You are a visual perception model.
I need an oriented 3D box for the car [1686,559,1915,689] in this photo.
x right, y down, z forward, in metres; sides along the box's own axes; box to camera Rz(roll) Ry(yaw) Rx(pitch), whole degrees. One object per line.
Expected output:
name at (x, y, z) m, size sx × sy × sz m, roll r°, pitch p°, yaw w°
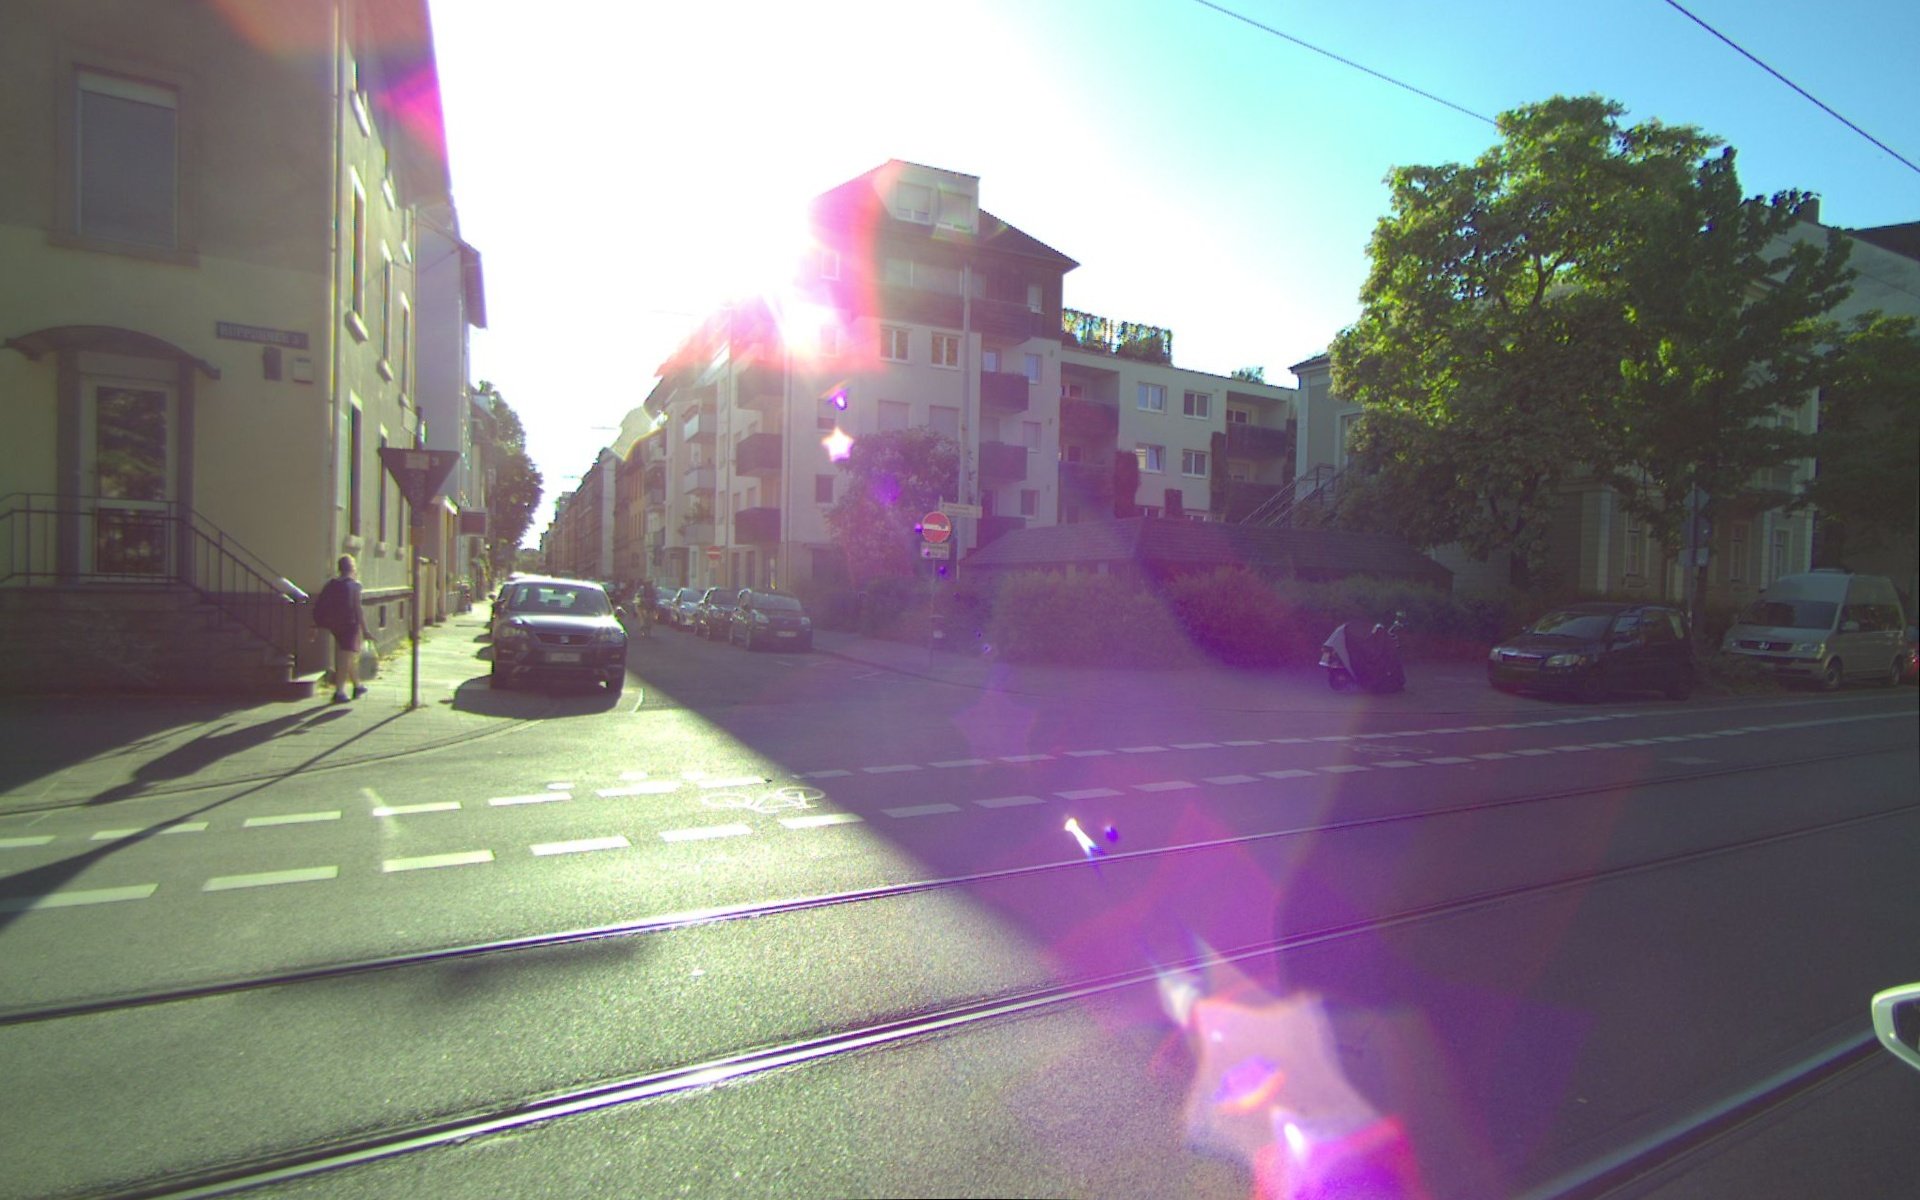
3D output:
car at (18.513, 0.491, 22.064) m, size 5.284 × 2.542 × 2.291 m, roll 1°, pitch 1°, yaw -32°

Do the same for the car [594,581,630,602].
car at (-24.089, -0.587, 69.407) m, size 1.856 × 1.325 × 4.048 m, roll 1°, pitch 0°, yaw -26°

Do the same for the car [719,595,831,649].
car at (-4.915, 0.536, 26.247) m, size 1.856 × 1.270 × 4.048 m, roll 1°, pitch 0°, yaw -26°

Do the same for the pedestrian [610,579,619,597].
pedestrian at (-31.566, -1.103, 91.701) m, size 0.642 × 1.683 × 0.646 m, roll 1°, pitch 1°, yaw -27°

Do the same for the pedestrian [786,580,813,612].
pedestrian at (-5.800, -0.165, 36.239) m, size 0.493 × 1.122 × 1.789 m, roll 1°, pitch 0°, yaw -24°

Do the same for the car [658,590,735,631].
car at (-9.375, 0.343, 35.533) m, size 1.856 × 1.325 × 4.048 m, roll 1°, pitch 0°, yaw -26°

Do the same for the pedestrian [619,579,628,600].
pedestrian at (-27.328, -0.828, 81.554) m, size 0.642 × 1.683 × 0.646 m, roll 1°, pitch 1°, yaw -27°

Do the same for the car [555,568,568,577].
car at (-69.225, -4.771, 174.418) m, size 1.856 × 1.595 × 4.048 m, roll 1°, pitch 0°, yaw -26°

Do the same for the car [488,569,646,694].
car at (-6.152, 0.399, 15.439) m, size 1.940 × 1.639 × 4.048 m, roll 1°, pitch 0°, yaw -26°

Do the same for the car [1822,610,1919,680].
car at (23.065, 1.071, 24.761) m, size 3.665 × 1.560 × 1.676 m, roll 1°, pitch 1°, yaw -31°

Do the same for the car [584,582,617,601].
car at (-26.727, -0.668, 74.526) m, size 1.856 × 1.325 × 4.048 m, roll 1°, pitch 0°, yaw -26°

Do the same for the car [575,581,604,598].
car at (-30.500, -0.903, 82.665) m, size 1.856 × 1.325 × 4.048 m, roll 1°, pitch 0°, yaw -26°

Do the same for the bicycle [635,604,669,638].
bicycle at (-9.068, 0.602, 29.517) m, size 0.639 × 0.940 × 1.965 m, roll 1°, pitch 0°, yaw -27°

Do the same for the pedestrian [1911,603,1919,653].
pedestrian at (32.530, 0.950, 33.674) m, size 0.936 × 1.684 × 0.602 m, roll 1°, pitch 2°, yaw -29°

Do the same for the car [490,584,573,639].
car at (-12.038, 0.284, 28.076) m, size 1.940 × 1.407 × 4.048 m, roll 1°, pitch 0°, yaw -26°

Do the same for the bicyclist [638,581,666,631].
bicyclist at (-9.033, 0.166, 29.453) m, size 0.639 × 1.453 × 0.800 m, roll 1°, pitch 1°, yaw -27°

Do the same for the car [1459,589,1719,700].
car at (10.954, 0.715, 17.475) m, size 4.207 × 1.713 × 1.984 m, roll 1°, pitch 1°, yaw -28°

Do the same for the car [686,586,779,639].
car at (-6.923, 0.328, 30.255) m, size 1.856 × 1.469 × 4.048 m, roll 1°, pitch 0°, yaw -26°

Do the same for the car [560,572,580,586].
car at (-46.513, -2.536, 119.719) m, size 1.856 × 1.595 × 4.048 m, roll 1°, pitch 0°, yaw -26°

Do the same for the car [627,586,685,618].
car at (-13.665, 0.083, 45.016) m, size 1.856 × 1.325 × 4.048 m, roll 1°, pitch 0°, yaw -26°

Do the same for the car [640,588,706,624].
car at (-11.537, 0.218, 40.185) m, size 1.856 × 1.325 × 4.048 m, roll 1°, pitch 0°, yaw -26°

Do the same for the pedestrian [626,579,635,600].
pedestrian at (-27.279, -0.848, 83.156) m, size 0.642 × 1.683 × 0.646 m, roll 1°, pitch 1°, yaw -27°

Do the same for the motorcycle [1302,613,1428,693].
motorcycle at (6.662, 0.843, 16.497) m, size 2.122 × 1.155 × 0.670 m, roll -1°, pitch 5°, yaw -28°

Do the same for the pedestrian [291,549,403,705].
pedestrian at (-6.742, 0.293, 11.086) m, size 0.740 × 1.608 × 0.773 m, roll 4°, pitch 0°, yaw -14°
